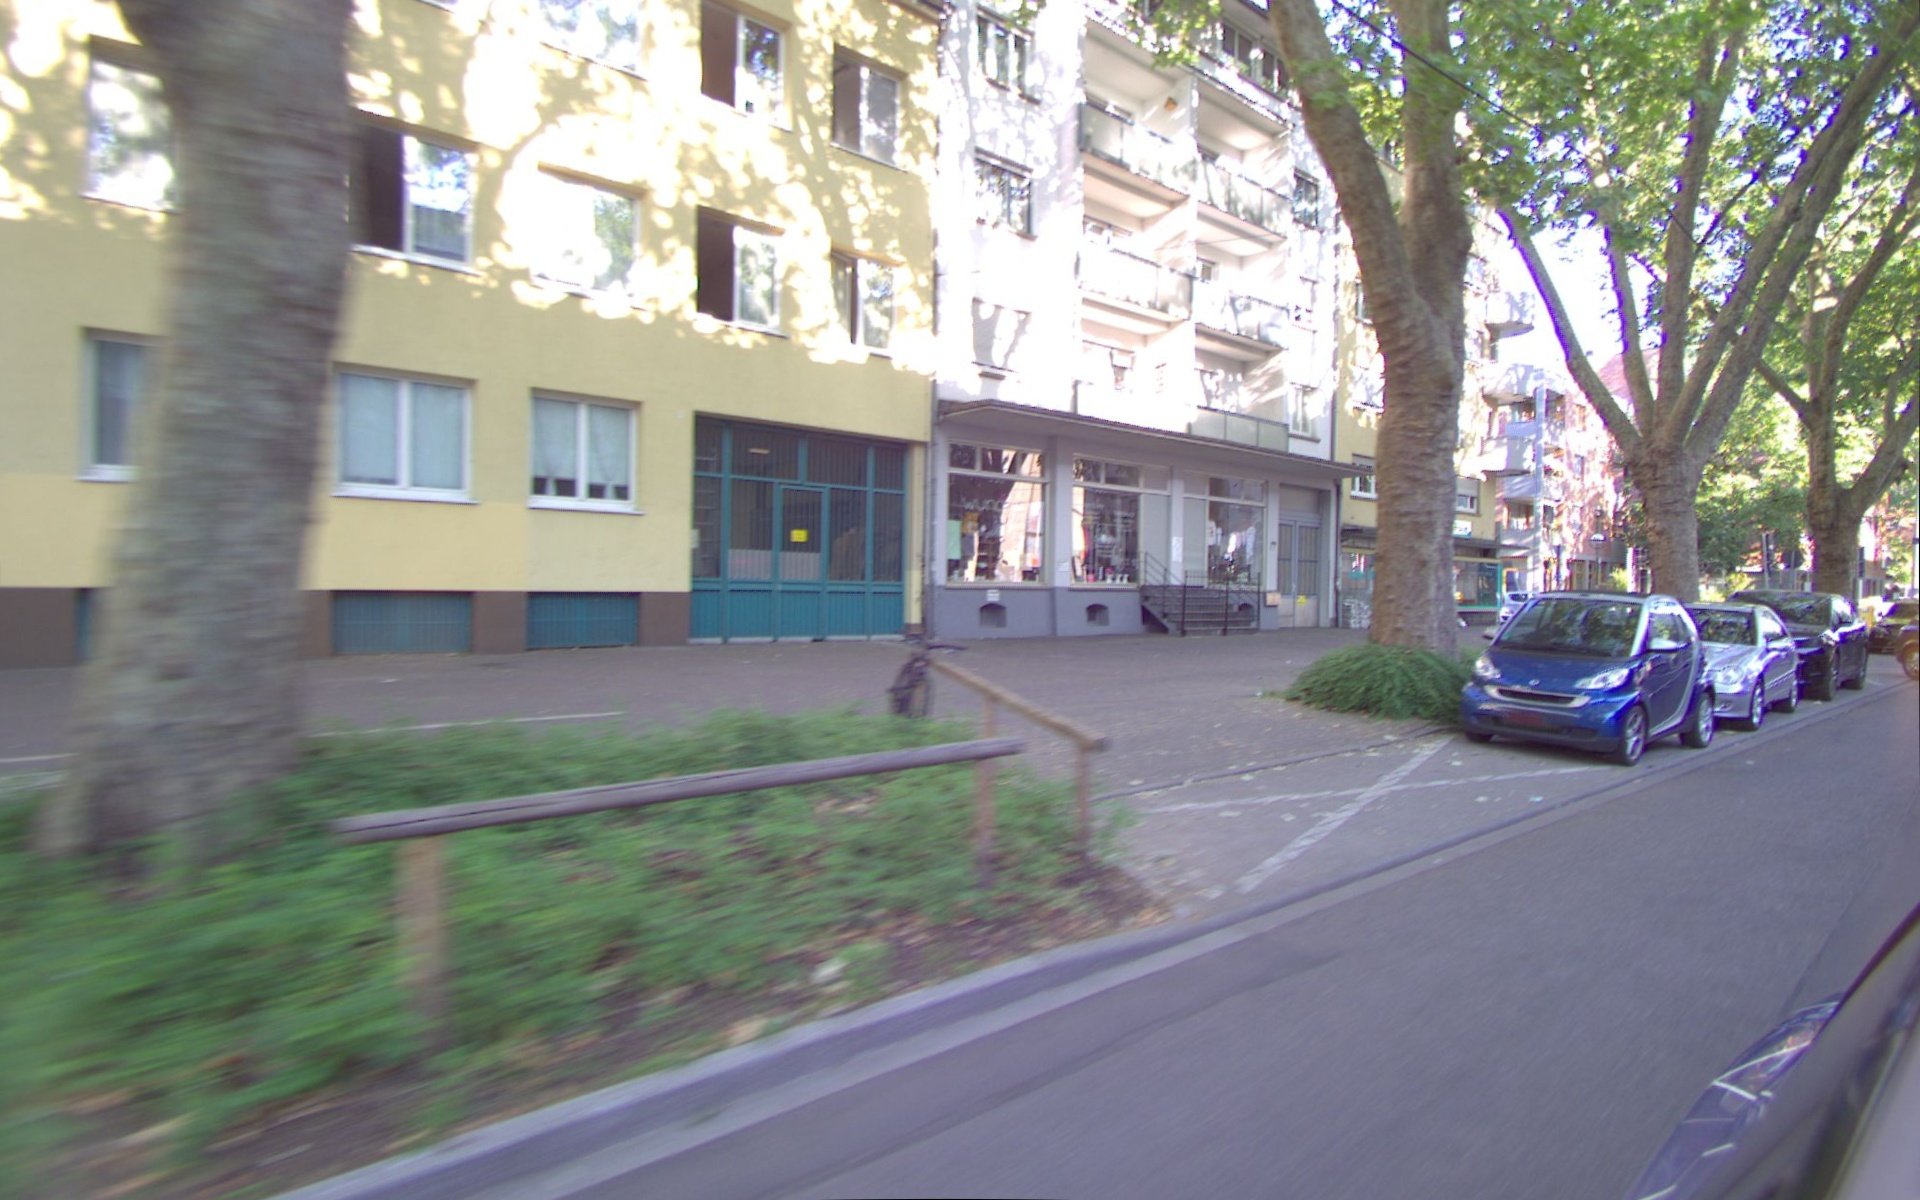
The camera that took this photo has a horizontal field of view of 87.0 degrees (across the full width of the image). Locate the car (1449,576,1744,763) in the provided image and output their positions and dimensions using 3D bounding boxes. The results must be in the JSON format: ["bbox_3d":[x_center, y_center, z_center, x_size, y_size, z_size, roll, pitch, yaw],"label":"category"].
[{"bbox_3d":[6.365,0.554,10.065,2.857,1.537,1.568,-1,3,-38],"label":"car"}]

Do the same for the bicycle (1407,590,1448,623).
[{"bbox_3d":[14.844,0.196,32.120,1.751,1.009,0.571,-1,3,-45],"label":"bicycle"}]

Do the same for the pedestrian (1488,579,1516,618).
[{"bbox_3d":[21.523,-0.067,40.199,0.677,1.558,0.703,1,1,1],"label":"pedestrian"}]

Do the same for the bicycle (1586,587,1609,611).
[{"bbox_3d":[32.150,-0.080,51.042,1.670,1.171,0.600,-1,3,-45],"label":"bicycle"}]

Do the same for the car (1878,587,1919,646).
[{"bbox_3d":[26.363,0.409,27.368,4.926,1.480,1.767,0,1,-42],"label":"car"}]

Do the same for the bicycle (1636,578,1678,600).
[{"bbox_3d":[39.729,-0.620,57.691,0.560,1.171,1.939,1,3,-24],"label":"bicycle"}]

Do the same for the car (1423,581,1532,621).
[{"bbox_3d":[22.858,0.009,44.770,1.832,1.572,3.870,3,0,-40],"label":"car"}]

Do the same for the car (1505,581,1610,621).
[{"bbox_3d":[28.035,0.003,47.568,1.833,1.714,3.870,0,2,-40],"label":"car"}]

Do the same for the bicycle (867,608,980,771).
[{"bbox_3d":[-0.349,0.658,8.271,0.500,1.018,1.975,1,4,-14],"label":"bicycle"}]

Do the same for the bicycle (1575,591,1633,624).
[{"bbox_3d":[24.967,0.283,39.258,1.781,1.171,0.738,3,3,29],"label":"bicycle"}]

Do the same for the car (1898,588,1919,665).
[{"bbox_3d":[19.049,0.596,17.542,1.838,1.455,4.221,2,2,5],"label":"car"}]

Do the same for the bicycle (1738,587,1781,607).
[{"bbox_3d":[51.190,-0.171,64.784,0.561,1.171,2.039,0,3,-34],"label":"bicycle"}]

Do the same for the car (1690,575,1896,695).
[{"bbox_3d":[13.725,0.441,16.569,4.700,1.622,1.861,-1,3,-42],"label":"car"}]

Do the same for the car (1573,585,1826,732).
[{"bbox_3d":[9.593,0.593,12.977,4.527,1.453,1.819,-2,4,-44],"label":"car"}]

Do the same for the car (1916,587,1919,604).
[{"bbox_3d":[90.562,-0.411,94.277,3.891,1.527,1.657,0,2,-40],"label":"car"}]

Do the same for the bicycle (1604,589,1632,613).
[{"bbox_3d":[32.373,0.043,49.791,1.666,1.171,0.602,0,3,-37],"label":"bicycle"}]
